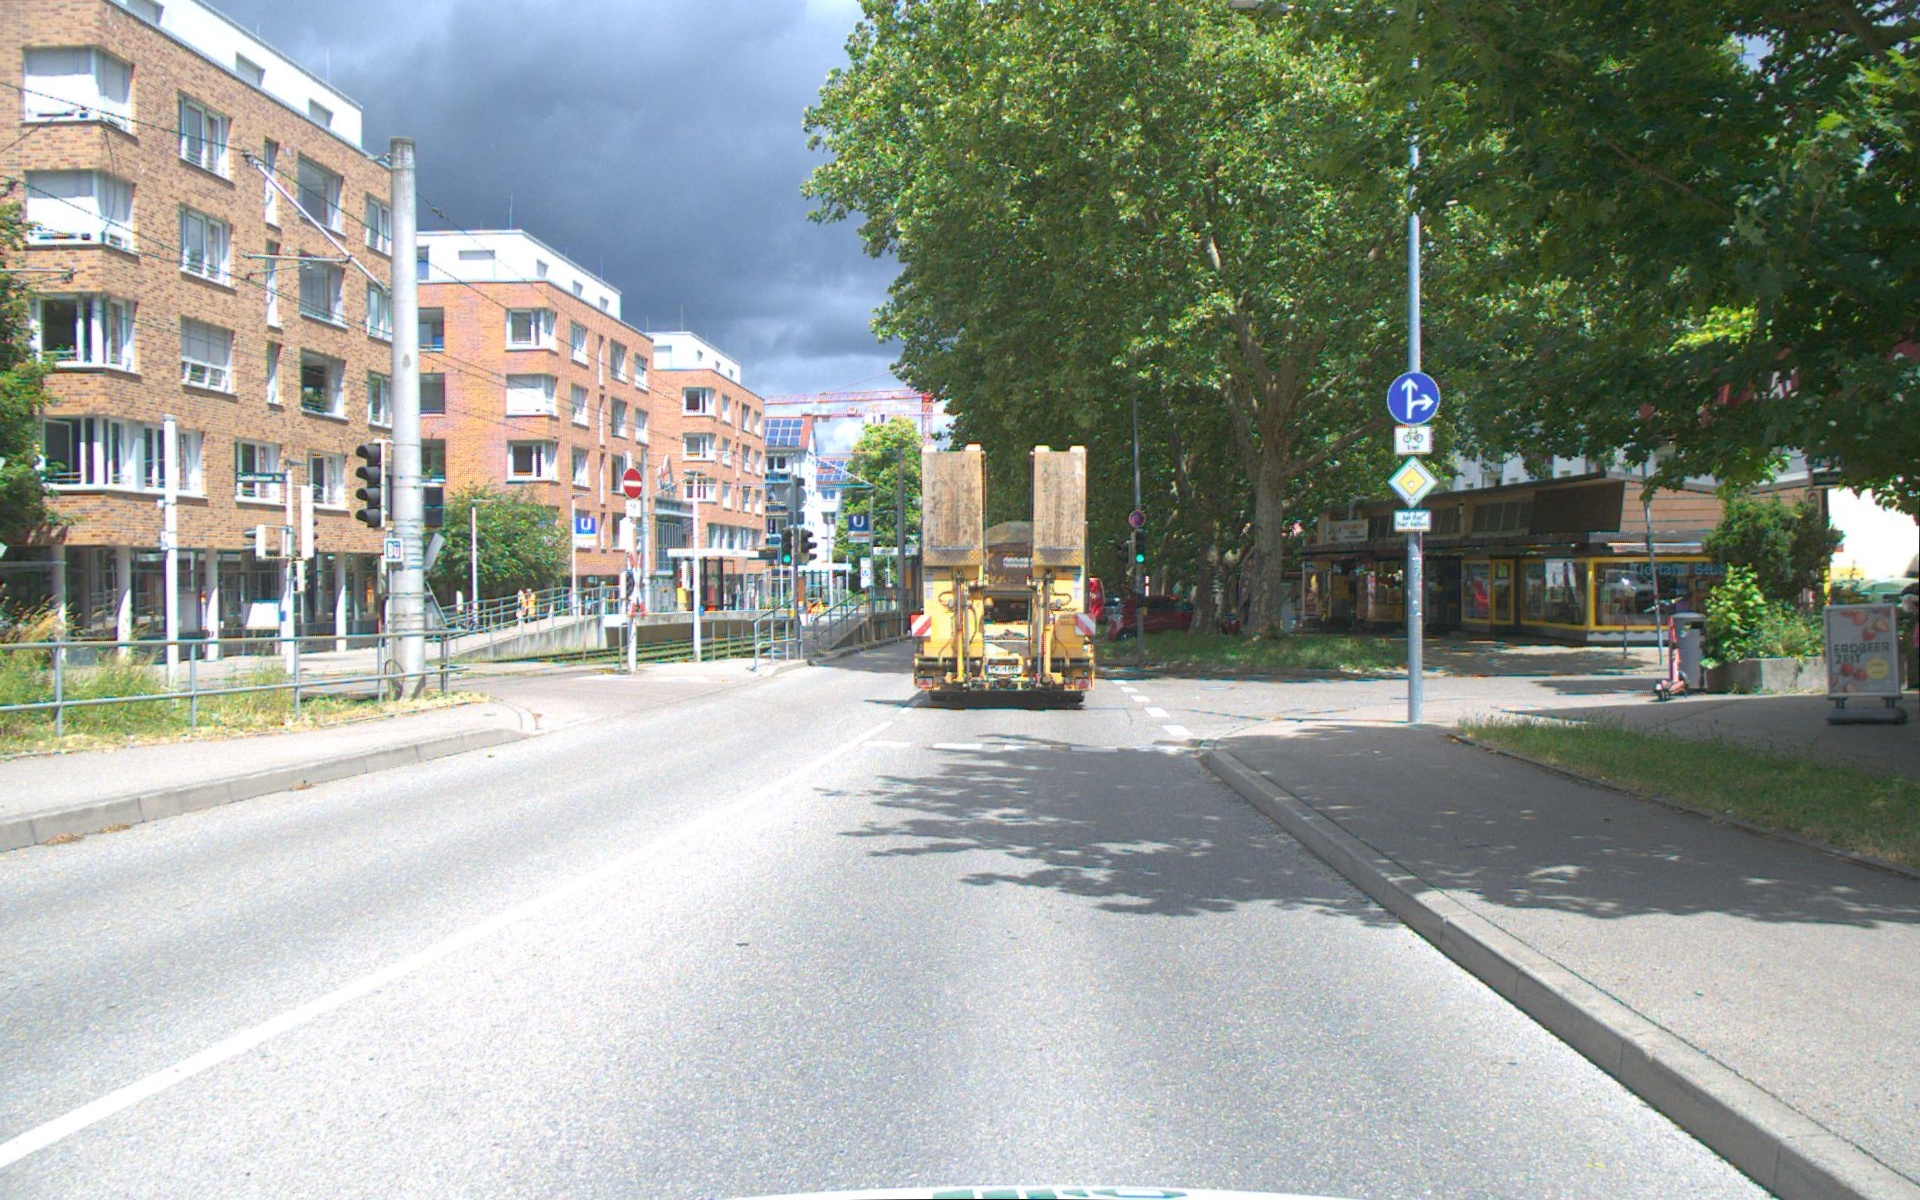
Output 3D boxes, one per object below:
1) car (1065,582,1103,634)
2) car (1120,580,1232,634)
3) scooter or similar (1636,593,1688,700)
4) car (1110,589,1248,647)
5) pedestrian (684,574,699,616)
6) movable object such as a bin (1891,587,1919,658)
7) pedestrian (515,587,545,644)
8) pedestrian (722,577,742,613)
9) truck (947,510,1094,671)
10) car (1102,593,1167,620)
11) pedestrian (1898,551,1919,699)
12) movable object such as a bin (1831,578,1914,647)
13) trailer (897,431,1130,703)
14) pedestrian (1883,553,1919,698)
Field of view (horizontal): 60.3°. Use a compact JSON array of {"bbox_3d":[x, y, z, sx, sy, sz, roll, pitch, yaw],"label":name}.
[{"bbox_3d":[6.532,0.432,87.496,1.864,2.626,6.836,-2,0,3],"label":"car"},{"bbox_3d":[6.919,0.226,53.216,3.338,1.541,1.610,-3,-1,-1],"label":"car"},{"bbox_3d":[9.018,0.577,21.243,0.369,1.330,1.227,-1,0,34],"label":"scooter or similar"},{"bbox_3d":[6.427,0.519,48.825,3.944,1.639,1.732,-1,0,6],"label":"car"},{"bbox_3d":[-11.481,-0.199,70.793,0.523,1.794,0.528,0,-1,0],"label":"pedestrian"},{"bbox_3d":[20.708,0.470,35.201,1.158,1.437,1.144,-1,2,-1],"label":"movable object such as a bin"},{"bbox_3d":[-14.131,0.506,54.397,0.728,1.857,0.829,0,0,2],"label":"pedestrian"},{"bbox_3d":[-10.606,-0.229,76.893,0.735,1.657,0.816,1,0,3],"label":"pedestrian"},{"bbox_3d":[1.378,-0.178,37.337,2.927,3.190,7.889,1,0,2],"label":"truck"},{"bbox_3d":[10.822,0.422,102.783,3.753,1.589,1.619,-1,-1,-3],"label":"car"},{"bbox_3d":[10.919,0.277,18.695,0.439,1.661,0.394,0,-1,-38],"label":"pedestrian"},{"bbox_3d":[20.297,0.266,36.814,1.152,1.437,1.212,-1,2,-1],"label":"movable object such as a bin"},{"bbox_3d":[0.967,-0.427,27.833,3.088,3.615,11.100,1,0,3],"label":"trailer"},{"bbox_3d":[11.039,0.291,19.218,0.439,1.661,0.394,0,-1,-38],"label":"pedestrian"}]
